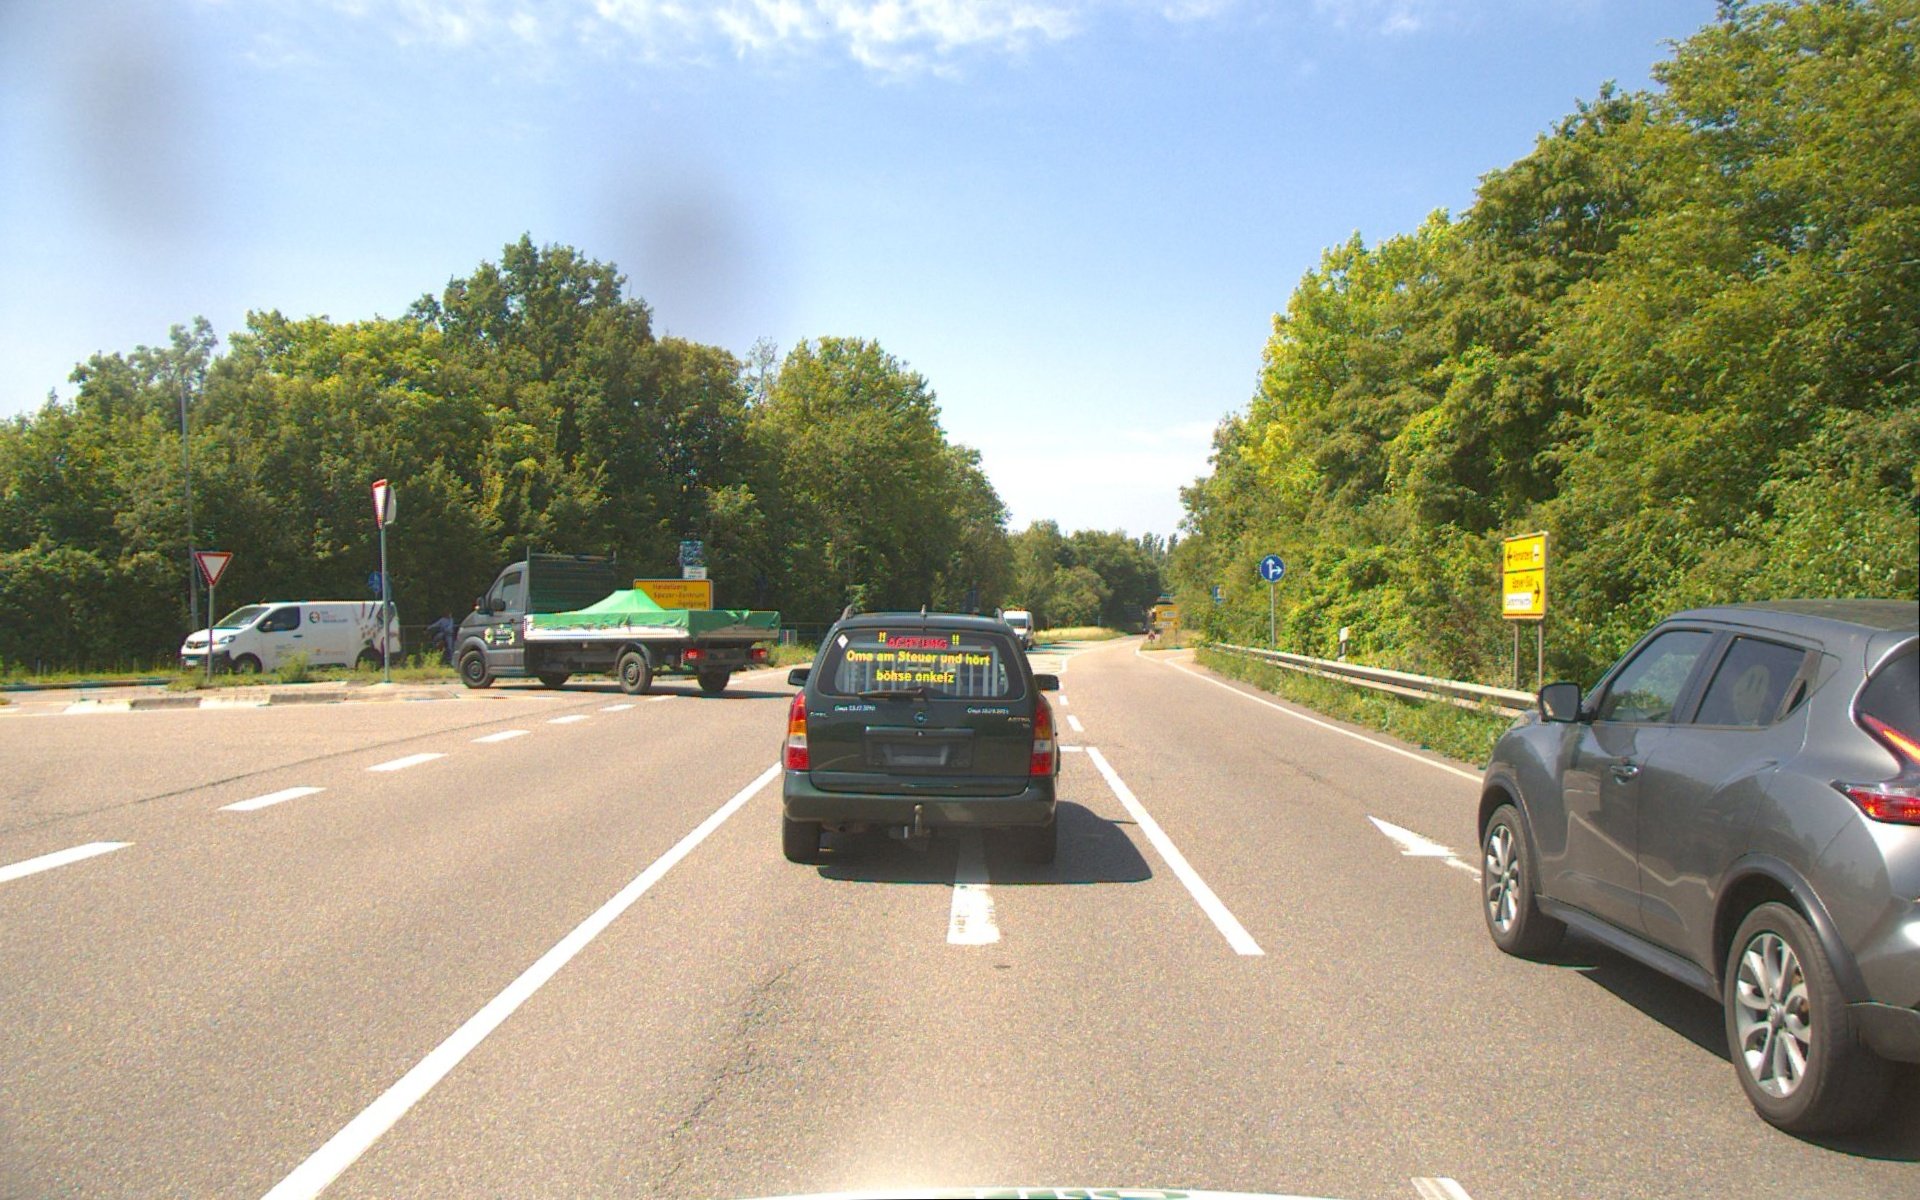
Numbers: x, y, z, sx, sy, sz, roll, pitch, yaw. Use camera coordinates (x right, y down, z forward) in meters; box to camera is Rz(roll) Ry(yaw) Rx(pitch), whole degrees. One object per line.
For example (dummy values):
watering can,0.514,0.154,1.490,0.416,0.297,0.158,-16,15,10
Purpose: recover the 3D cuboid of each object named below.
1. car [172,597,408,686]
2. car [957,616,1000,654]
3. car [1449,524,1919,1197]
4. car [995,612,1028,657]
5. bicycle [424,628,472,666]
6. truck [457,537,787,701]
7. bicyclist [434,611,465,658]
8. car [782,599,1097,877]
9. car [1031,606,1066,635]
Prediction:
car,-16.413,0.963,40.793,1.976,1.957,5.175,0,1,36
car,0.763,1.406,67.340,1.610,1.443,3.767,1,-1,2
car,3.324,0.664,6.109,1.806,1.714,3.999,0,0,-1
car,3.530,2.318,112.752,2.061,2.900,6.014,1,-1,3
bicycle,-15.561,1.424,50.313,0.427,1.133,1.477,-1,-1,33
truck,-6.080,0.287,29.153,6.516,2.610,2.134,0,0,40
bicyclist,-15.547,1.045,50.339,0.675,1.387,0.607,0,0,34
car,-0.106,0.754,10.863,1.685,1.482,3.797,1,0,0
car,10.230,2.359,191.269,1.970,3.282,4.767,0,-1,-26
